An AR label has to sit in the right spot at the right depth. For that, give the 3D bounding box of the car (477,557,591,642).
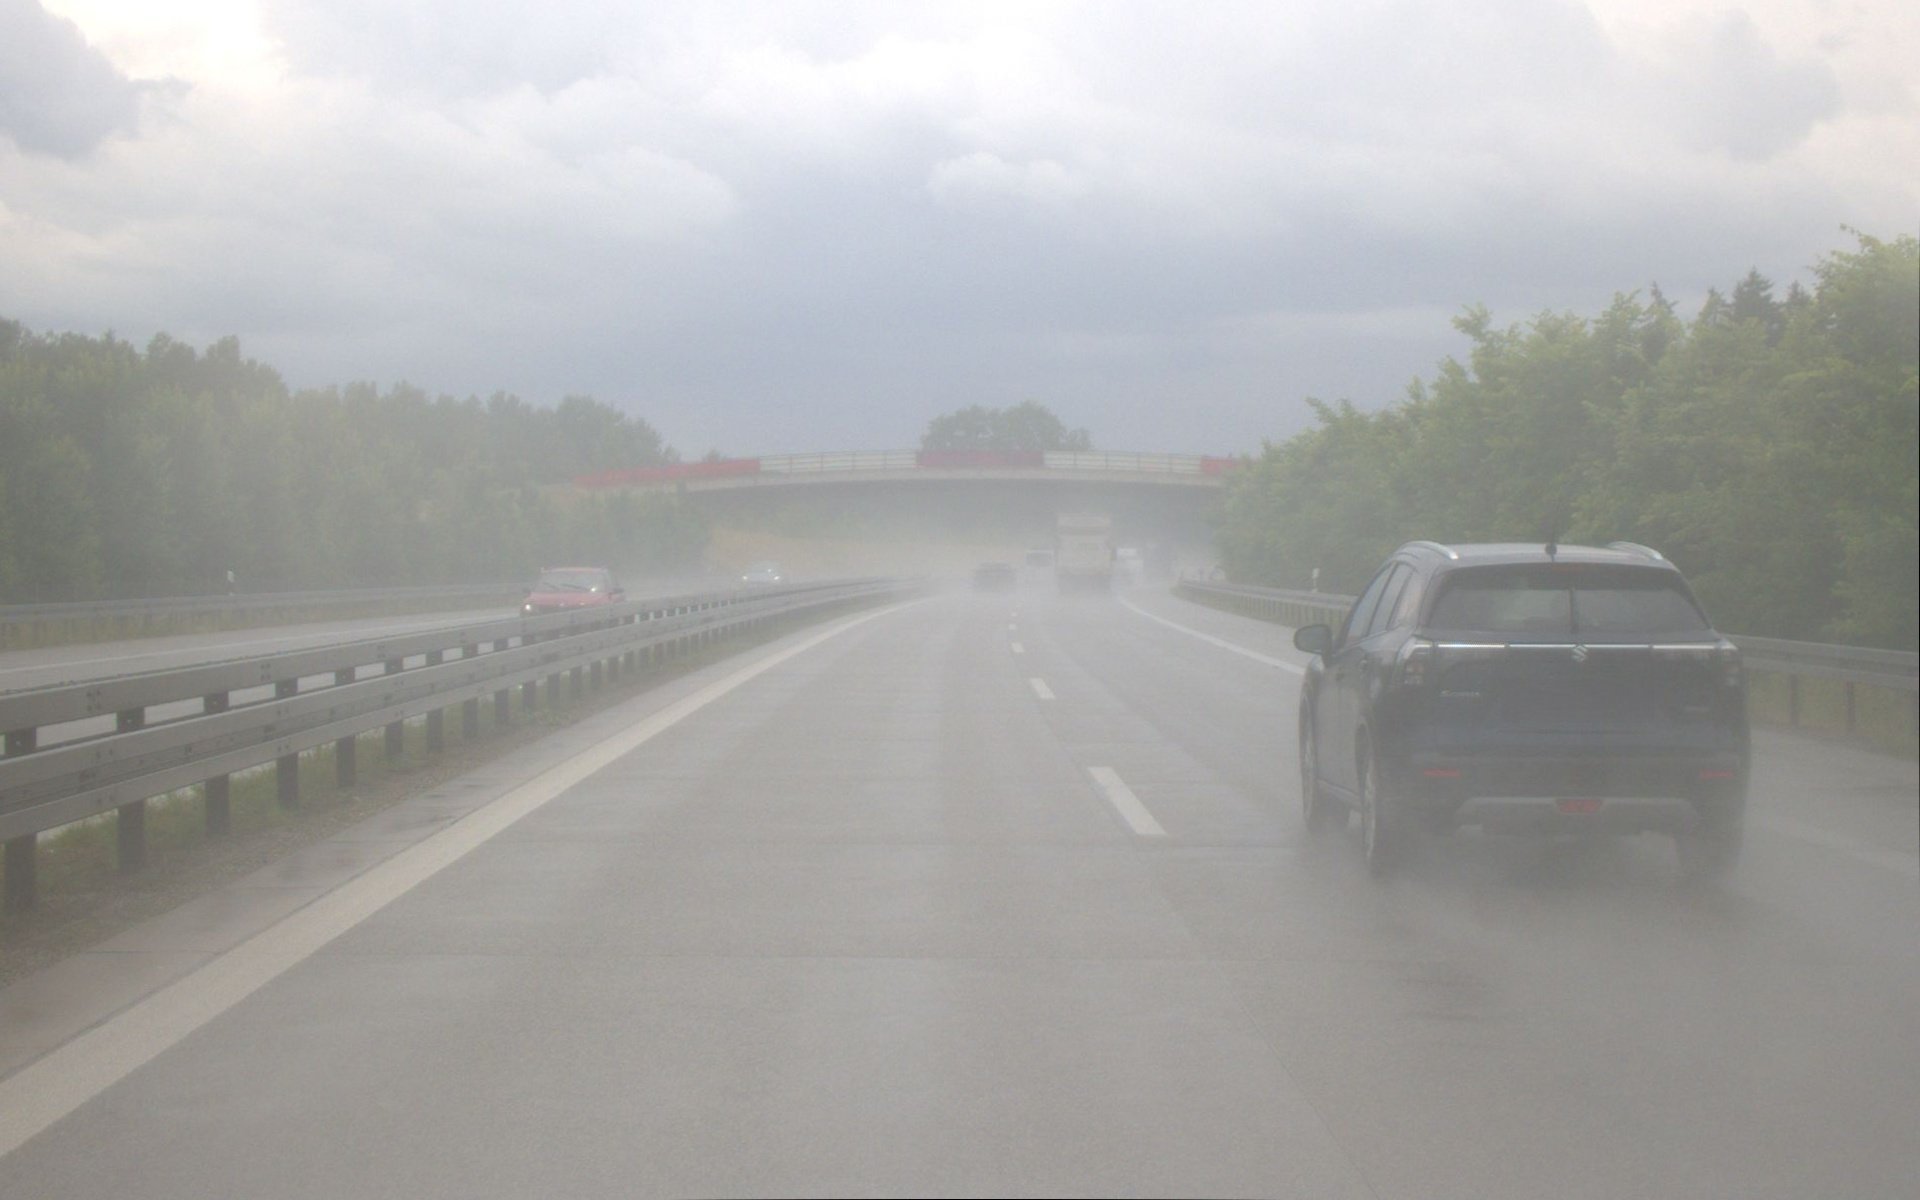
[{"bbox_3d":[-8.326,-0.036,67.411,1.763,1.459,3.847,-2,2,-1],"label":"car"}]

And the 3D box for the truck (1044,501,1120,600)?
[{"bbox_3d":[5.580,-2.287,158.027,3.243,4.422,8.246,0,1,0],"label":"truck"}]

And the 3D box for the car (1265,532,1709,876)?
[{"bbox_3d":[2.610,0.464,17.815,1.894,1.570,3.631,1,1,3],"label":"car"}]
